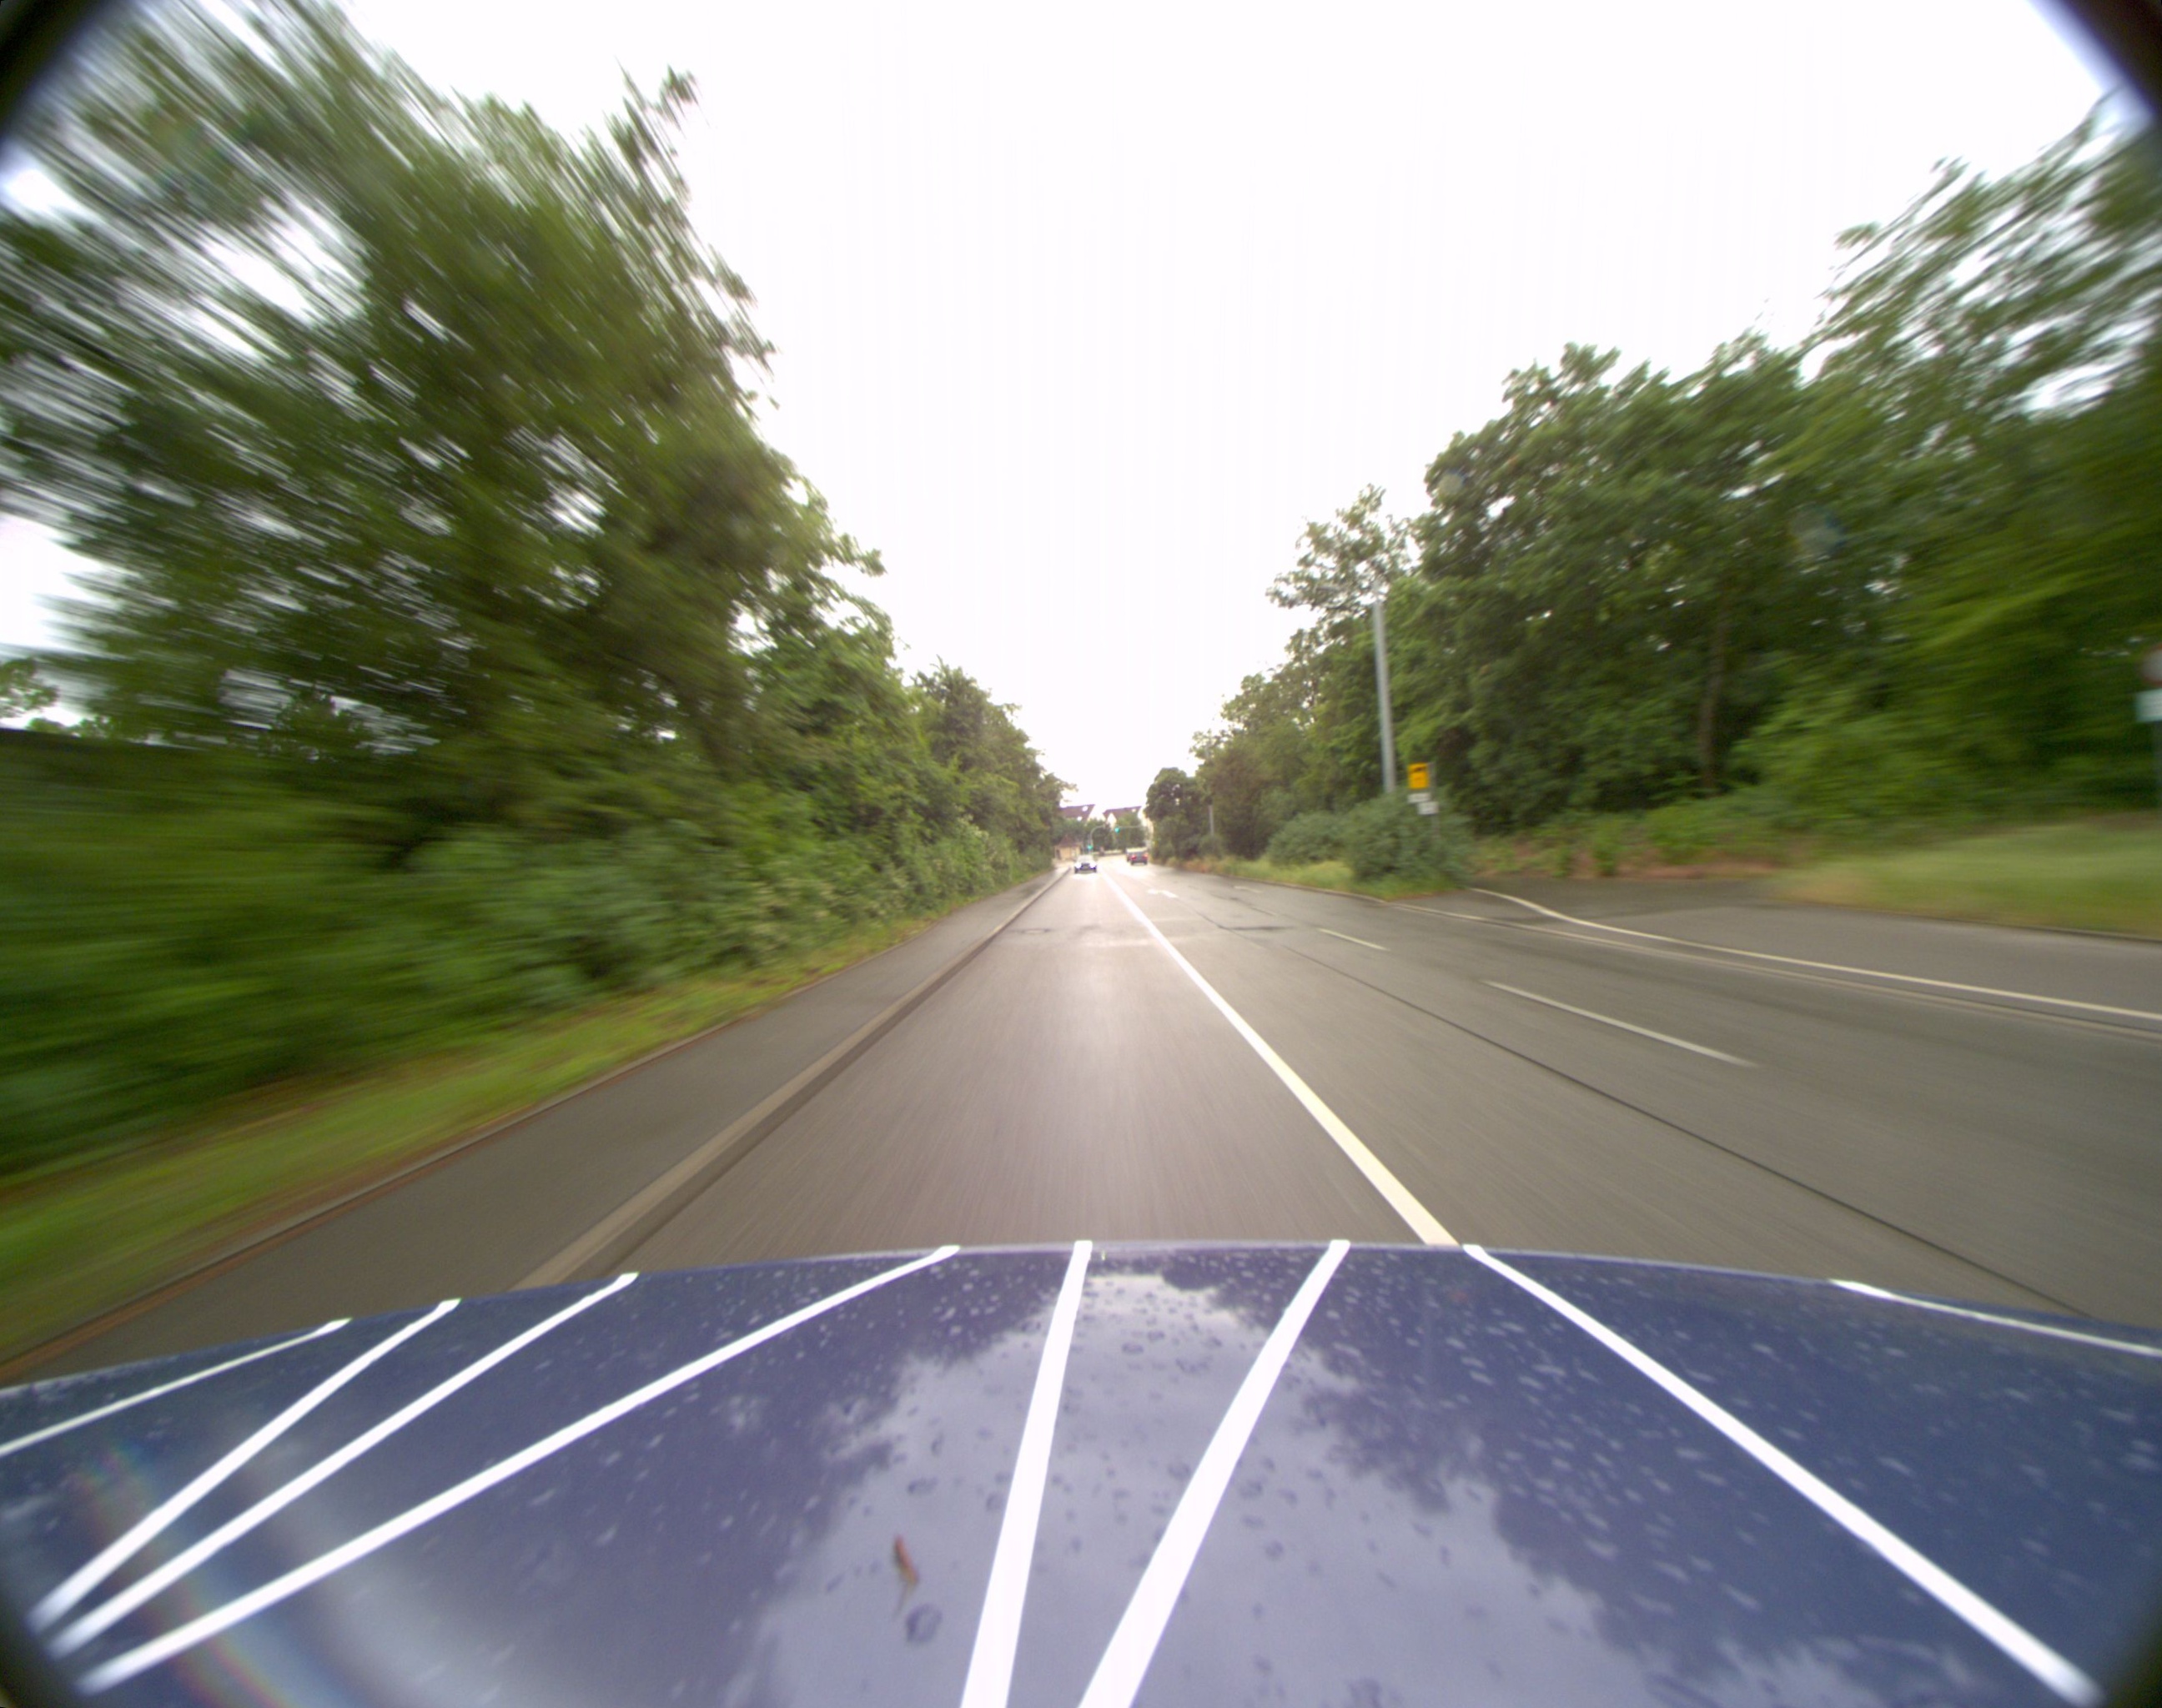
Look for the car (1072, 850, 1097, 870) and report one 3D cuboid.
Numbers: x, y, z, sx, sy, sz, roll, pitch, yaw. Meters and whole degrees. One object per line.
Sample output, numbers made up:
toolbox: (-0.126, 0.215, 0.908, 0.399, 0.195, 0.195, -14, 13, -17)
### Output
car: (0.341, 0.499, 61.936, 1.831, 1.511, 4.002, 1, -2, 3)
